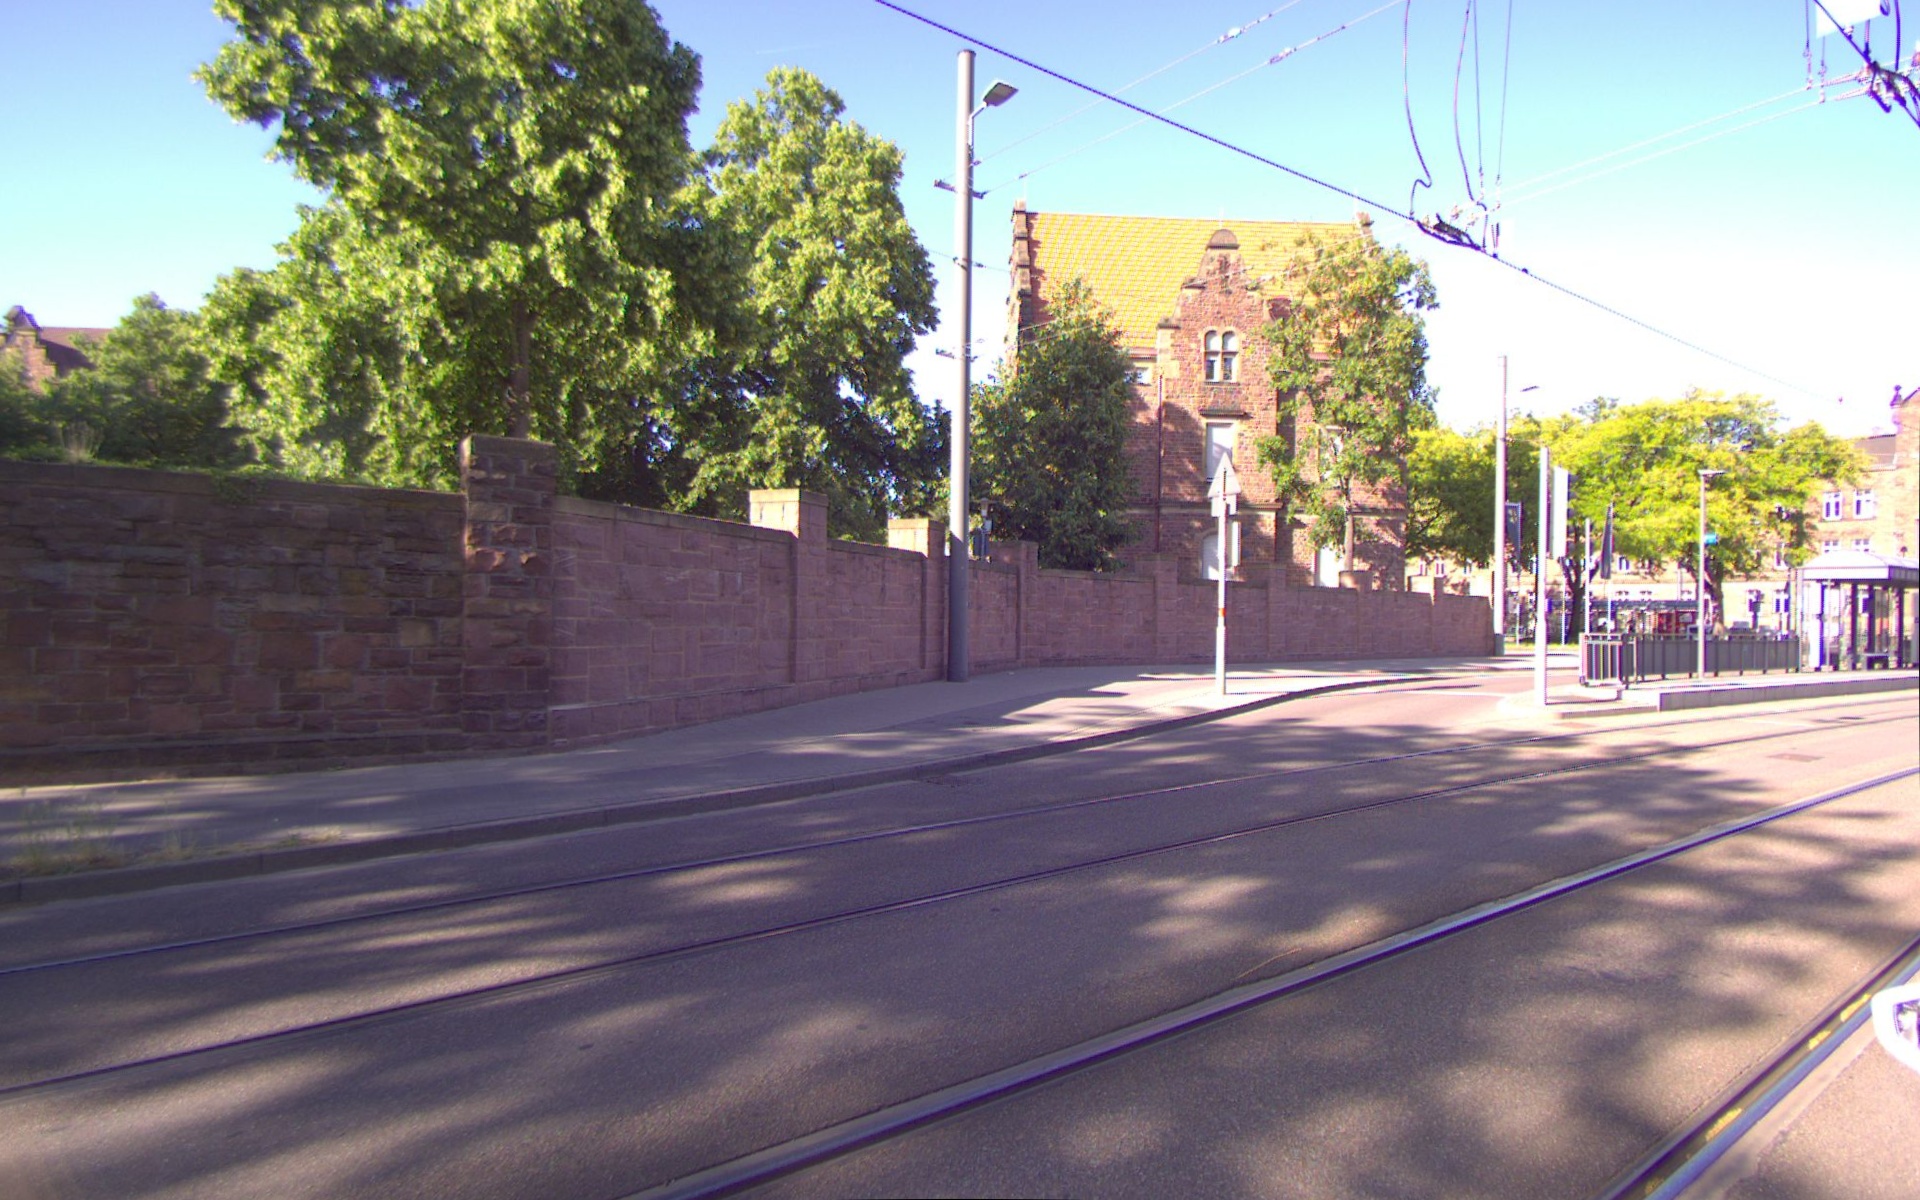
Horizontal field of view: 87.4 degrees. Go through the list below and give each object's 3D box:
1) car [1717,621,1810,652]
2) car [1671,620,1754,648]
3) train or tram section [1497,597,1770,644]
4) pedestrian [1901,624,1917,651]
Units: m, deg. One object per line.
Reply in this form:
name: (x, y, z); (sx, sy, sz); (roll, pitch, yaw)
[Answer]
car: (47.760, 2.154, 59.801); (1.798, 1.651, 3.964); (2, 0, -32)
car: (49.185, 2.236, 65.685); (1.798, 1.651, 3.964); (2, 0, -32)
train or tram section: (50.035, 1.452, 75.889); (3.312, 3.196, 17.280); (2, -1, -33)
pedestrian: (64.012, 2.519, 67.778); (0.758, 1.797, 0.716); (2, 0, 44)
